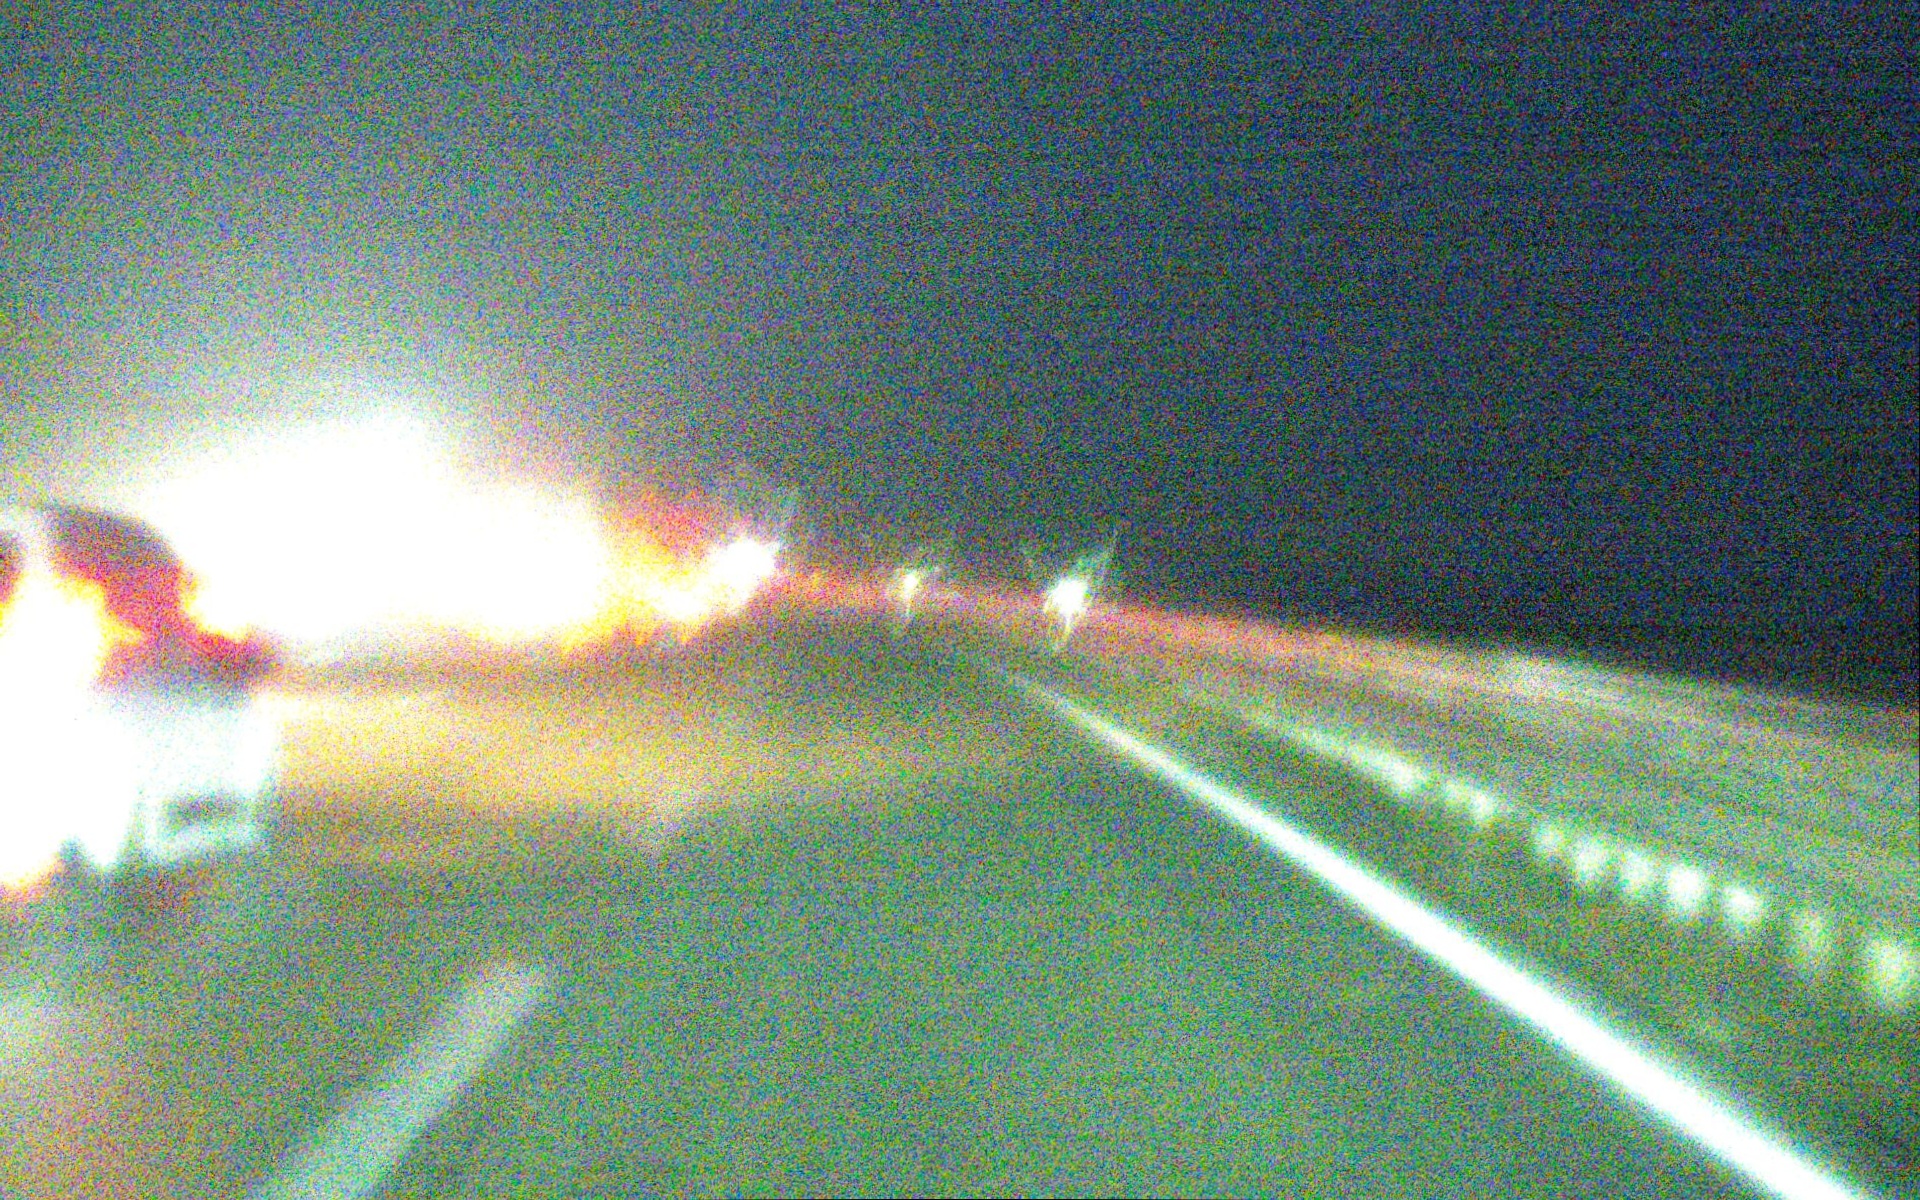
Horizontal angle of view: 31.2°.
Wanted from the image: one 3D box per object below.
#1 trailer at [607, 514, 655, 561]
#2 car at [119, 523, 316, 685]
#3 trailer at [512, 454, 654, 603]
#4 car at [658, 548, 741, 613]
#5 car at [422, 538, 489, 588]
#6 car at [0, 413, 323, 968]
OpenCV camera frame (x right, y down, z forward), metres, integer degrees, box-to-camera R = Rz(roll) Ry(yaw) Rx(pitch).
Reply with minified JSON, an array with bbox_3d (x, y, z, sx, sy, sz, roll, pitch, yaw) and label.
[{"bbox_3d":[-20.716,-3.911,216.942,2.687,2.690,12.860,3,0,-5],"label":"trailer"},{"bbox_3d":[-10.158,0.028,47.356,1.993,2.007,4.569,3,0,-5],"label":"car"},{"bbox_3d":[-10.357,-1.885,95.624,2.591,3.712,13.653,4,0,-2],"label":"trailer"},{"bbox_3d":[-7.820,-0.589,103.393,1.994,1.812,4.000,3,0,2],"label":"car"},{"bbox_3d":[-17.466,-1.296,119.202,1.993,1.612,4.001,3,1,-5],"label":"car"},{"bbox_3d":[-4.199,0.301,14.950,1.993,2.007,5.017,1,0,-1],"label":"car"}]
